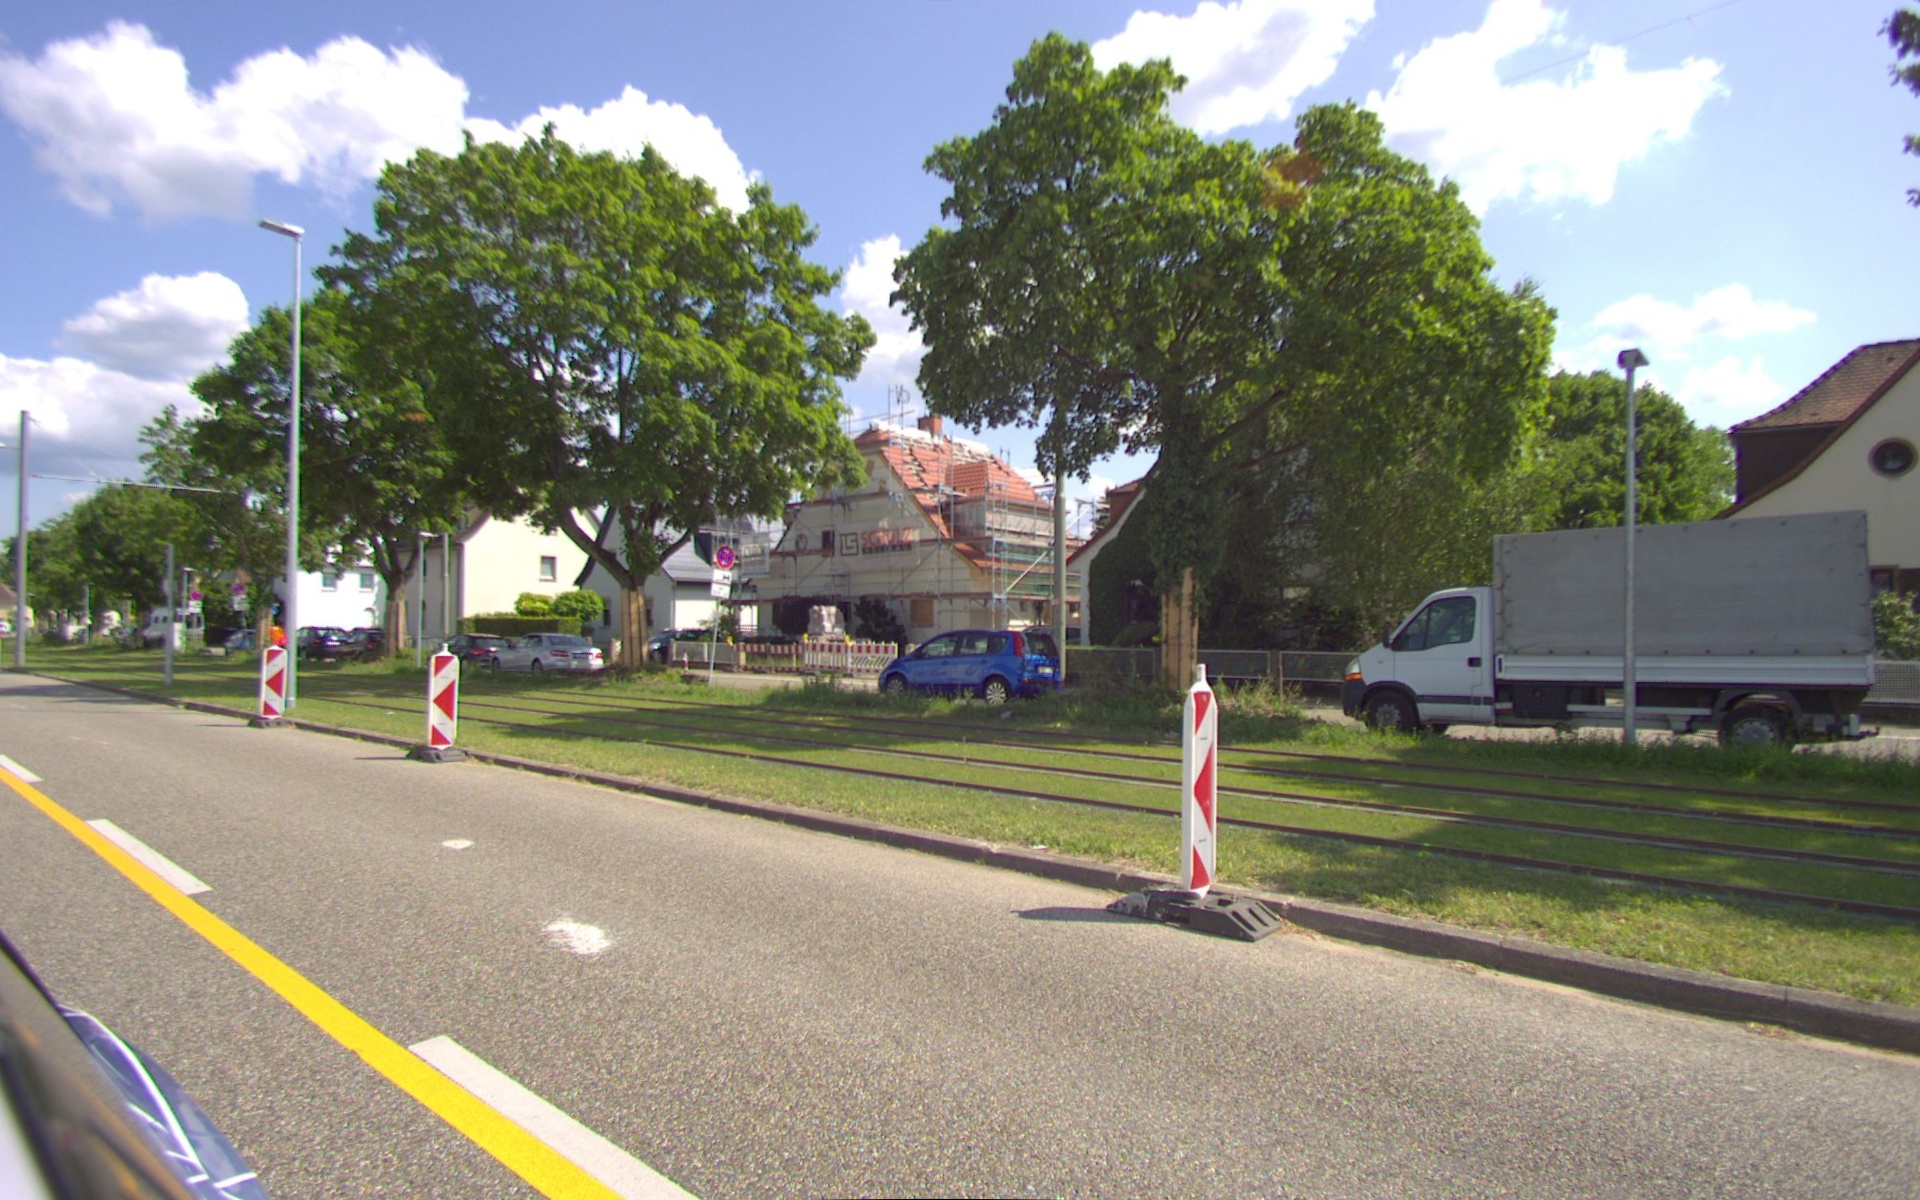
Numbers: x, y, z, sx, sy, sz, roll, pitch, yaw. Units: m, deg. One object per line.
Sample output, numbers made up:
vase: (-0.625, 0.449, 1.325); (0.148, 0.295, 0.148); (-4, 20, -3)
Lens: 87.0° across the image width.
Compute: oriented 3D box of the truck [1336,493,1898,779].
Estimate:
truck: (8.267, 0.467, 13.352); (5.871, 3.010, 1.982); (-2, -3, 41)

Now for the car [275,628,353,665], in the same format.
car: (-29.601, 2.103, 46.338); (4.603, 1.623, 1.733); (-2, -3, 40)

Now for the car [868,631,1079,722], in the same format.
car: (0.209, 1.446, 20.187); (4.047, 1.623, 1.733); (-2, -3, 40)

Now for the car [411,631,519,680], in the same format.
car: (-17.613, 1.919, 35.938); (4.603, 1.623, 1.733); (-2, -3, 40)

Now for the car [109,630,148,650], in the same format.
car: (-70.200, 3.374, 85.407); (4.603, 1.623, 1.733); (-2, -3, 40)

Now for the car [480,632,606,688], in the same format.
car: (-13.172, 1.834, 31.867); (4.603, 1.623, 1.733); (-2, -3, 40)

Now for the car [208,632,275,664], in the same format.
car: (-37.643, 2.473, 52.986); (4.603, 1.623, 1.733); (-2, -3, 40)

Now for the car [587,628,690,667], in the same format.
car: (-14.081, 2.051, 44.514); (1.756, 1.623, 3.995); (-2, -3, 41)

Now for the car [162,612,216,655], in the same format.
car: (-48.842, 2.112, 64.114); (4.603, 2.636, 1.733); (-2, -3, 40)

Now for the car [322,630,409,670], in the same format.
car: (-25.182, 2.078, 42.834); (4.603, 1.623, 1.733); (-2, -3, 40)

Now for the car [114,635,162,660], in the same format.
car: (-57.021, 3.273, 70.157); (4.603, 1.623, 1.733); (-2, -3, 40)

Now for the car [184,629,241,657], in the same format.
car: (-44.644, 2.558, 60.411); (4.603, 1.623, 1.733); (-2, -3, 40)
